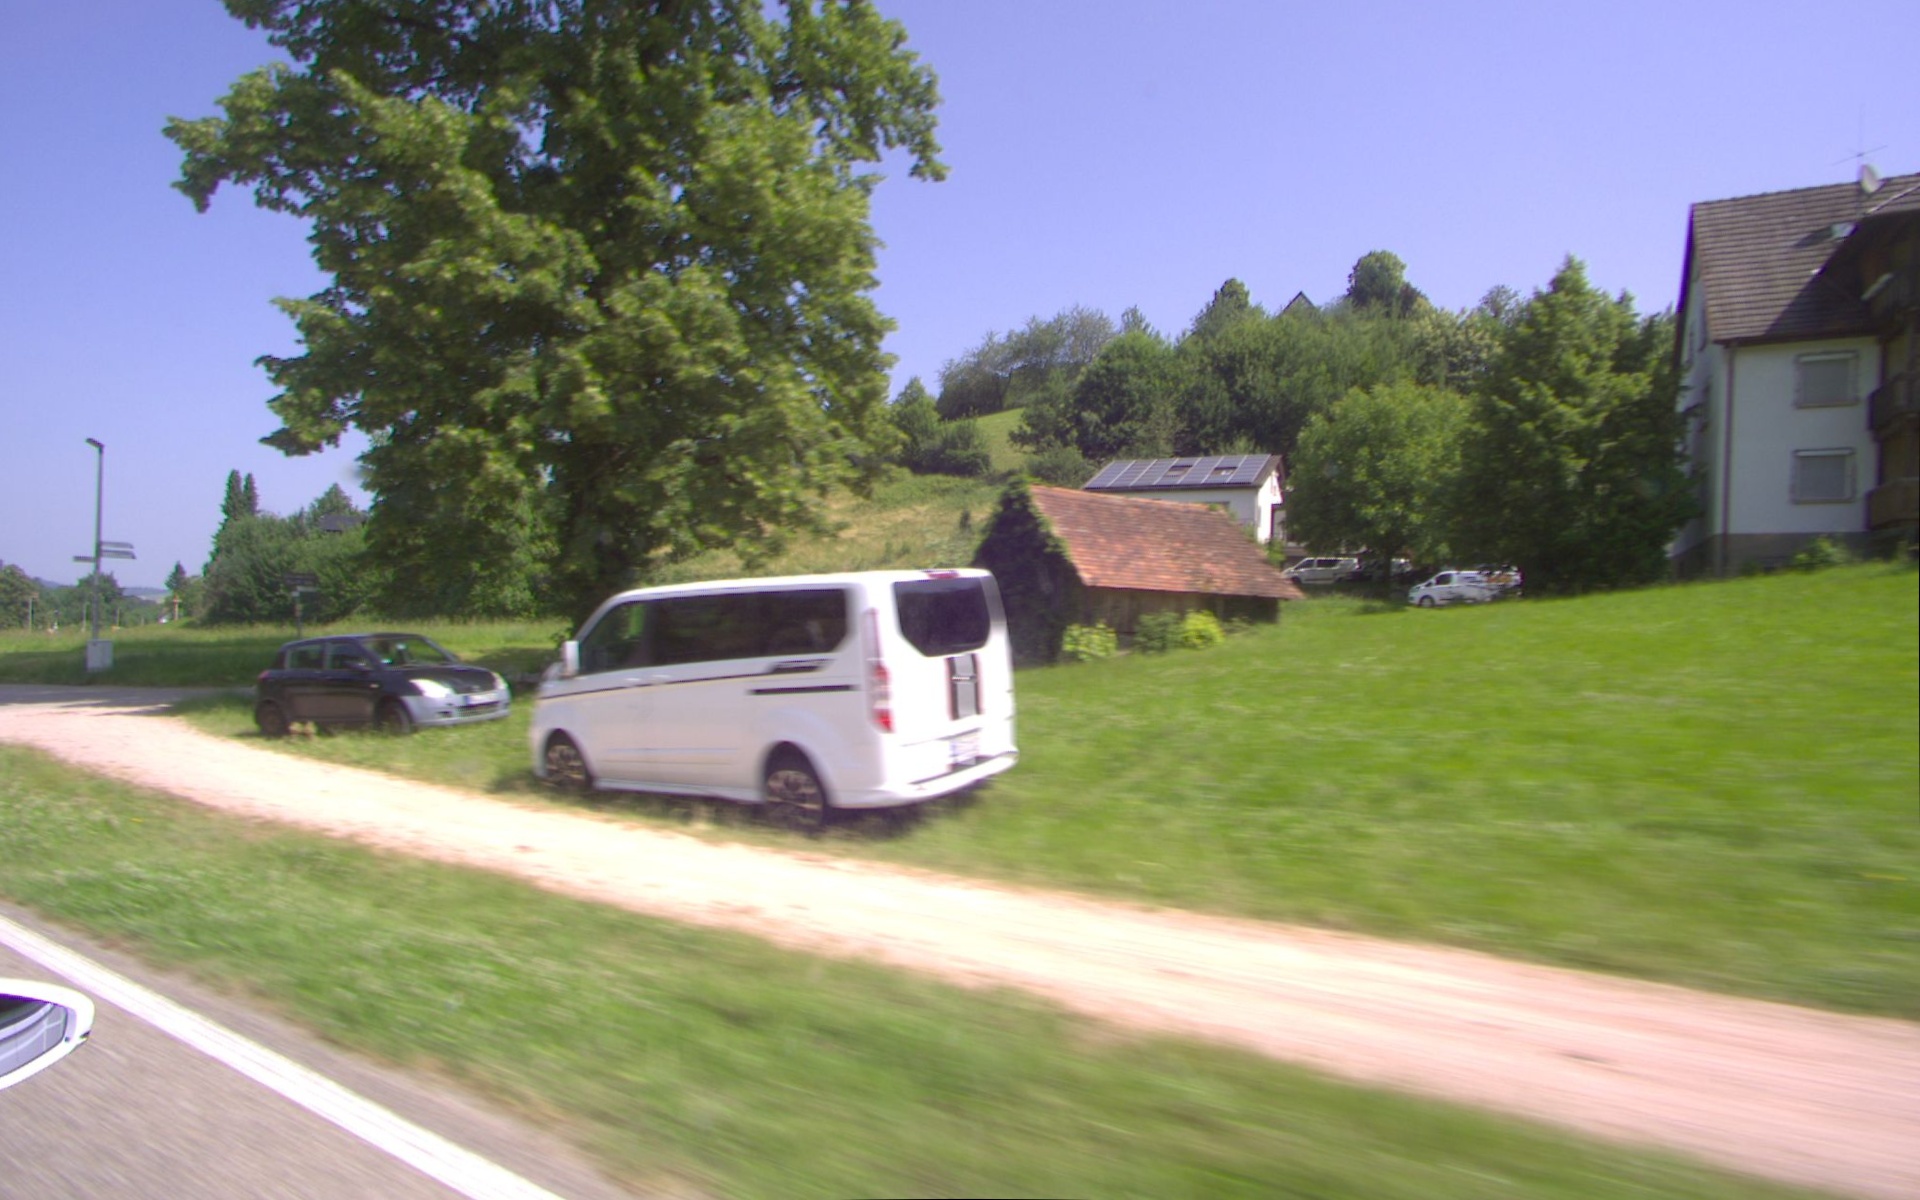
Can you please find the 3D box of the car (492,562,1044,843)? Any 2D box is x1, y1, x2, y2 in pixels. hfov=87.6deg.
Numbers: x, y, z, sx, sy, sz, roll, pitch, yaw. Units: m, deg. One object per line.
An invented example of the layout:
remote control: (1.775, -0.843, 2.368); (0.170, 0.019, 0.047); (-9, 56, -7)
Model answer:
car: (-1.856, 0.705, 8.993); (4.802, 1.874, 1.992); (-1, 3, 34)

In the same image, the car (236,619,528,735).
car: (-8.342, 1.079, 14.493); (3.651, 1.476, 1.675); (-2, 0, 20)

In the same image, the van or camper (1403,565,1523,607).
van or camper: (26.228, -0.677, 52.270); (5.360, 1.974, 2.804); (-1, -2, 33)

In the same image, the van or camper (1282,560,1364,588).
van or camper: (23.858, -1.701, 65.892); (4.963, 1.663, 2.027); (-1, -1, 24)

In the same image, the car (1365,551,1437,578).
car: (29.609, -2.354, 67.318); (4.382, 1.634, 1.921); (-1, -1, 24)
